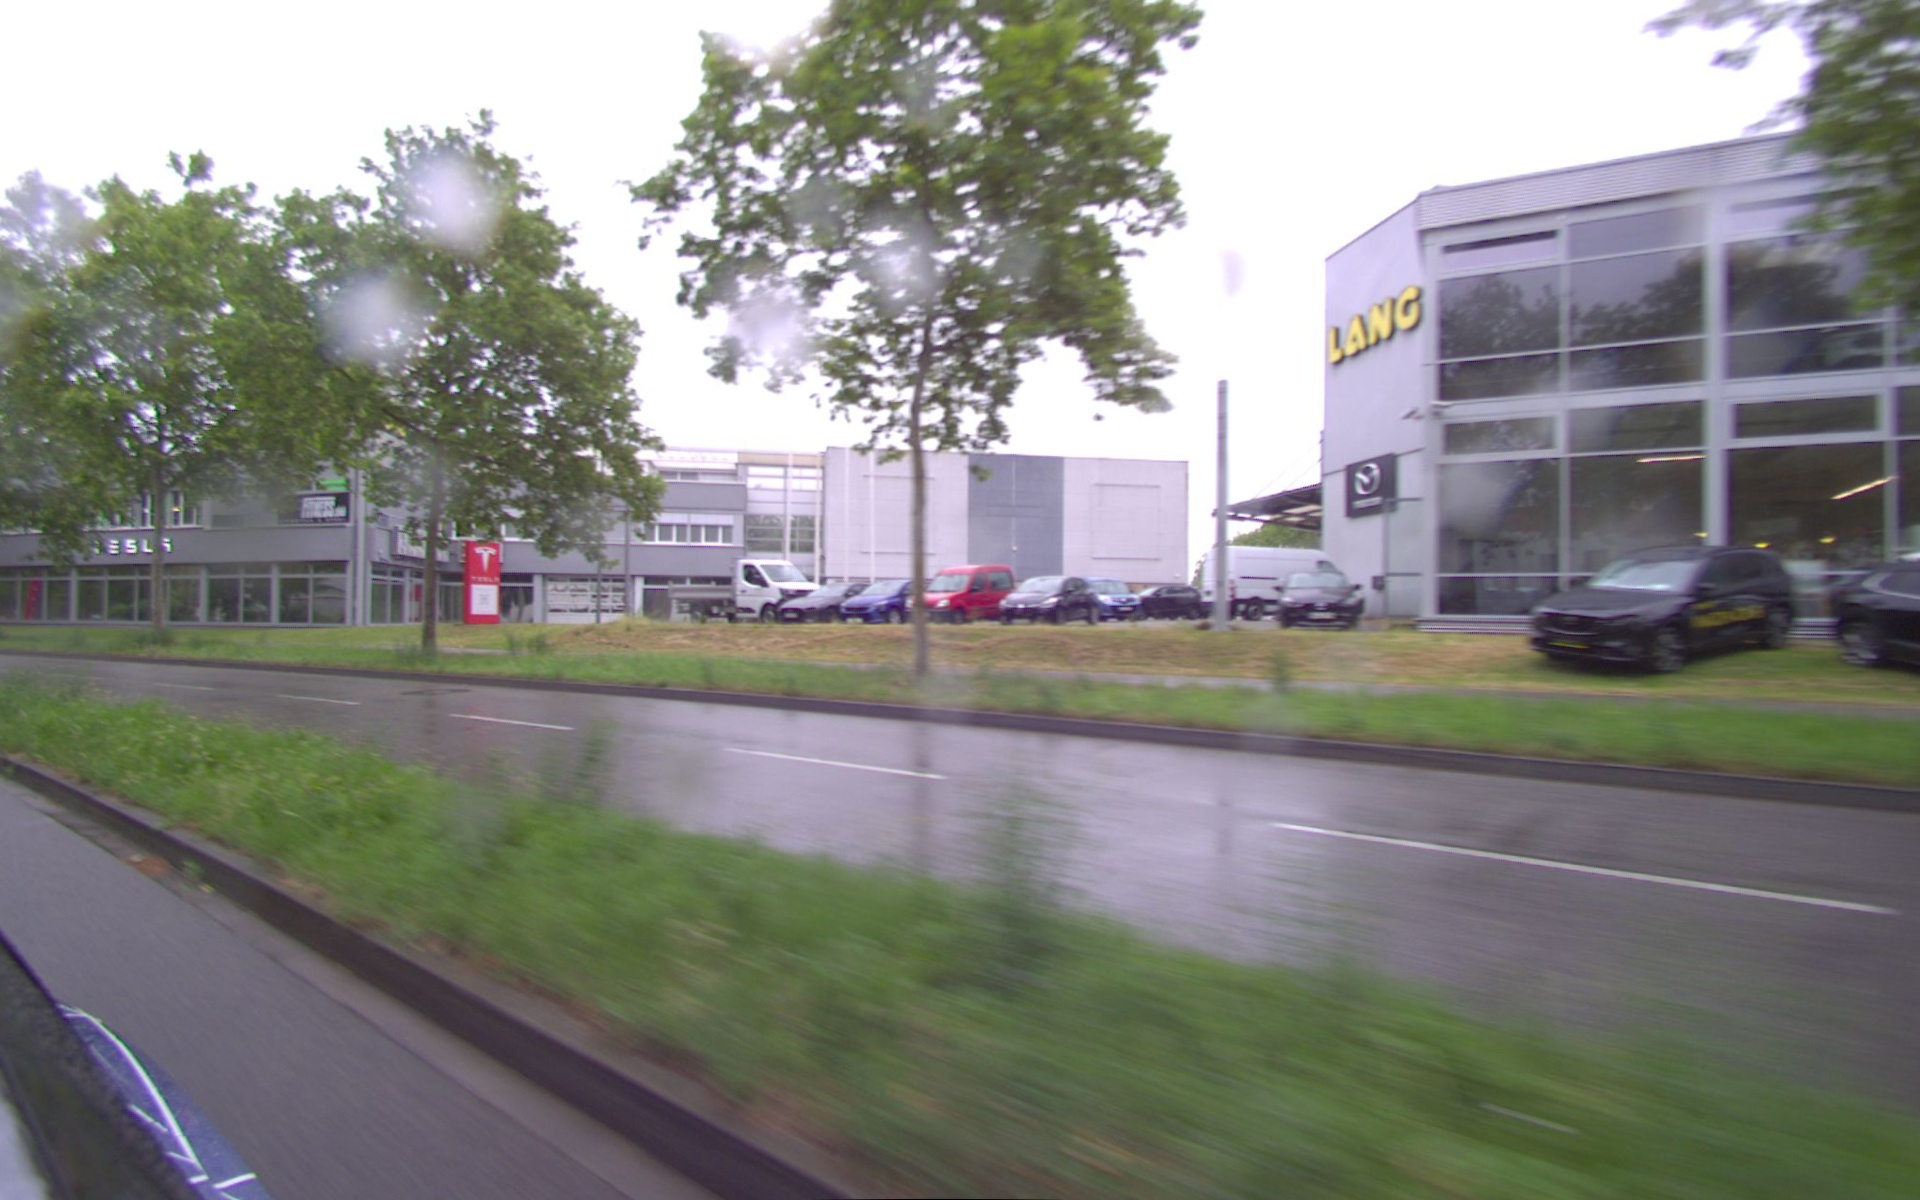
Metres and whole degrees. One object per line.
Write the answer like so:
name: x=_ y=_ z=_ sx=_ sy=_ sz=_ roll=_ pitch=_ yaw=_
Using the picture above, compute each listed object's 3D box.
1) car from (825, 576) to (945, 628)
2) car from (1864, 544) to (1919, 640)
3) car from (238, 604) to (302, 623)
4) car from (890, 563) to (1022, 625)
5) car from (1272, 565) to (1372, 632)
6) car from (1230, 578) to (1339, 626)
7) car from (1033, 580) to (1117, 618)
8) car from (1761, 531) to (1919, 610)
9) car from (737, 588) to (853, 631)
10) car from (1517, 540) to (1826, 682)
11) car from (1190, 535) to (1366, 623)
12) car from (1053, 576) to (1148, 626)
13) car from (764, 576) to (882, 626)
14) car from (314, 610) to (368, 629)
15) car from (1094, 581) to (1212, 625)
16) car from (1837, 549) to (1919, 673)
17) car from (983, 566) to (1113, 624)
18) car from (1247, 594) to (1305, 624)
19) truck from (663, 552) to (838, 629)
car: x=-2.182 y=0.028 z=30.292 sx=1.763 sy=1.336 sz=3.495 roll=-2 pitch=1 yaw=34
car: x=16.301 y=-0.124 z=16.207 sx=1.913 sy=1.485 sz=4.389 roll=-1 pitch=-1 yaw=31
car: x=-70.421 y=1.351 z=103.343 sx=5.148 sy=1.878 sz=1.797 roll=0 pitch=-1 yaw=-8
car: x=-0.044 y=-0.199 z=28.972 sx=1.842 sy=1.568 sz=3.964 roll=-2 pitch=1 yaw=33
car: x=8.308 y=-0.085 z=23.539 sx=1.831 sy=1.367 sz=3.989 roll=-3 pitch=1 yaw=16
car: x=13.069 y=0.071 z=41.081 sx=1.789 sy=1.777 sz=4.668 roll=-1 pitch=1 yaw=-17
car: x=5.722 y=-0.008 z=50.677 sx=1.740 sy=1.741 sz=4.165 roll=-2 pitch=-1 yaw=-38
car: x=18.665 y=-0.546 z=21.213 sx=1.909 sy=1.485 sz=4.399 roll=-1 pitch=-1 yaw=25
car: x=-6.274 y=0.359 z=38.383 sx=4.137 sy=1.478 sz=1.752 roll=-2 pitch=-1 yaw=28
car: x=11.152 y=0.070 z=15.860 sx=4.362 sy=1.567 sz=1.854 roll=-7 pitch=5 yaw=-22
car: x=10.721 y=-0.724 z=34.204 sx=5.249 sy=2.773 sz=2.177 roll=-1 pitch=0 yaw=-14
car: x=5.364 y=0.021 z=39.228 sx=1.789 sy=1.777 sz=4.668 roll=-1 pitch=1 yaw=-17
car: x=-4.239 y=0.008 z=31.693 sx=1.763 sy=1.336 sz=3.495 roll=-2 pitch=1 yaw=34
car: x=-59.361 y=1.867 z=97.065 sx=4.141 sy=1.827 sz=1.820 roll=1 pitch=-1 yaw=-43
car: x=8.291 y=0.111 z=43.561 sx=4.575 sy=1.777 sz=1.826 roll=-1 pitch=0 yaw=-14
car: x=13.465 y=0.214 z=12.451 sx=1.823 sy=1.489 sz=4.129 roll=-5 pitch=5 yaw=3
car: x=2.482 y=-0.170 z=27.697 sx=1.842 sy=1.367 sz=3.964 roll=-2 pitch=1 yaw=33
car: x=20.169 y=0.584 z=64.799 sx=1.956 sy=1.741 sz=4.716 roll=-2 pitch=0 yaw=-4
truck: x=-7.336 y=-0.286 z=35.024 sx=6.179 sy=2.362 sz=2.228 roll=-2 pitch=1 yaw=35
